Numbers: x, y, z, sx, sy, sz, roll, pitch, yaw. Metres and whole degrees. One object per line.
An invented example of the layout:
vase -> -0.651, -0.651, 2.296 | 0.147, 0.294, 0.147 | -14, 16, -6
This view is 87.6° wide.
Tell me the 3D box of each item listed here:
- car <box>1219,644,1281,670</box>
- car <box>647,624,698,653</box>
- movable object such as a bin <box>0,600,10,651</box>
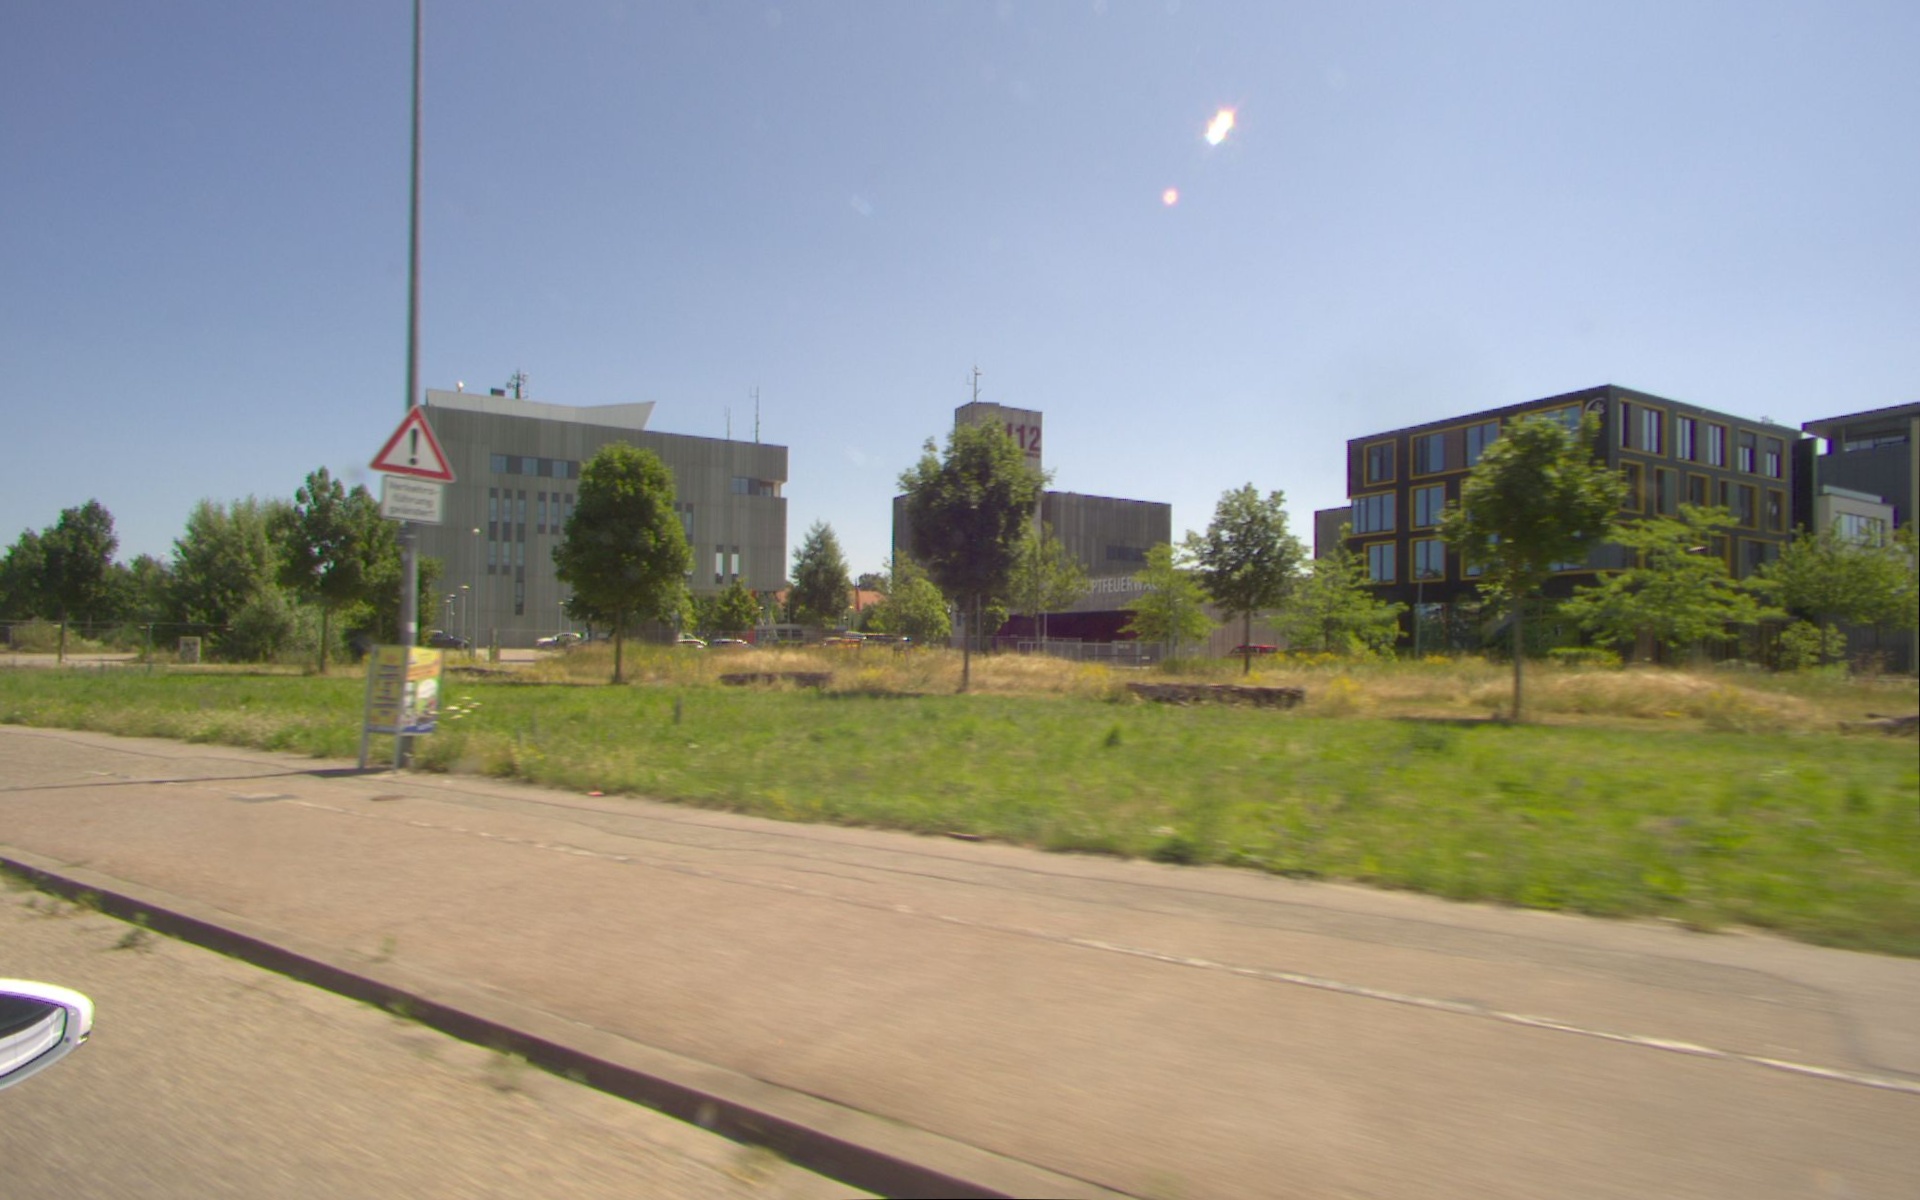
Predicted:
car -> 24.936, 4.873, 86.334 | 2.204, 2.141, 5.140 | 2, -3, -27
car -> -23.875, 3.212, 83.159 | 3.799, 2.323, 1.734 | 2, -2, -29
movable object such as a bin -> -68.488, 1.595, 65.431 | 10.280, 3.301, 4.951 | 0, -2, 18
